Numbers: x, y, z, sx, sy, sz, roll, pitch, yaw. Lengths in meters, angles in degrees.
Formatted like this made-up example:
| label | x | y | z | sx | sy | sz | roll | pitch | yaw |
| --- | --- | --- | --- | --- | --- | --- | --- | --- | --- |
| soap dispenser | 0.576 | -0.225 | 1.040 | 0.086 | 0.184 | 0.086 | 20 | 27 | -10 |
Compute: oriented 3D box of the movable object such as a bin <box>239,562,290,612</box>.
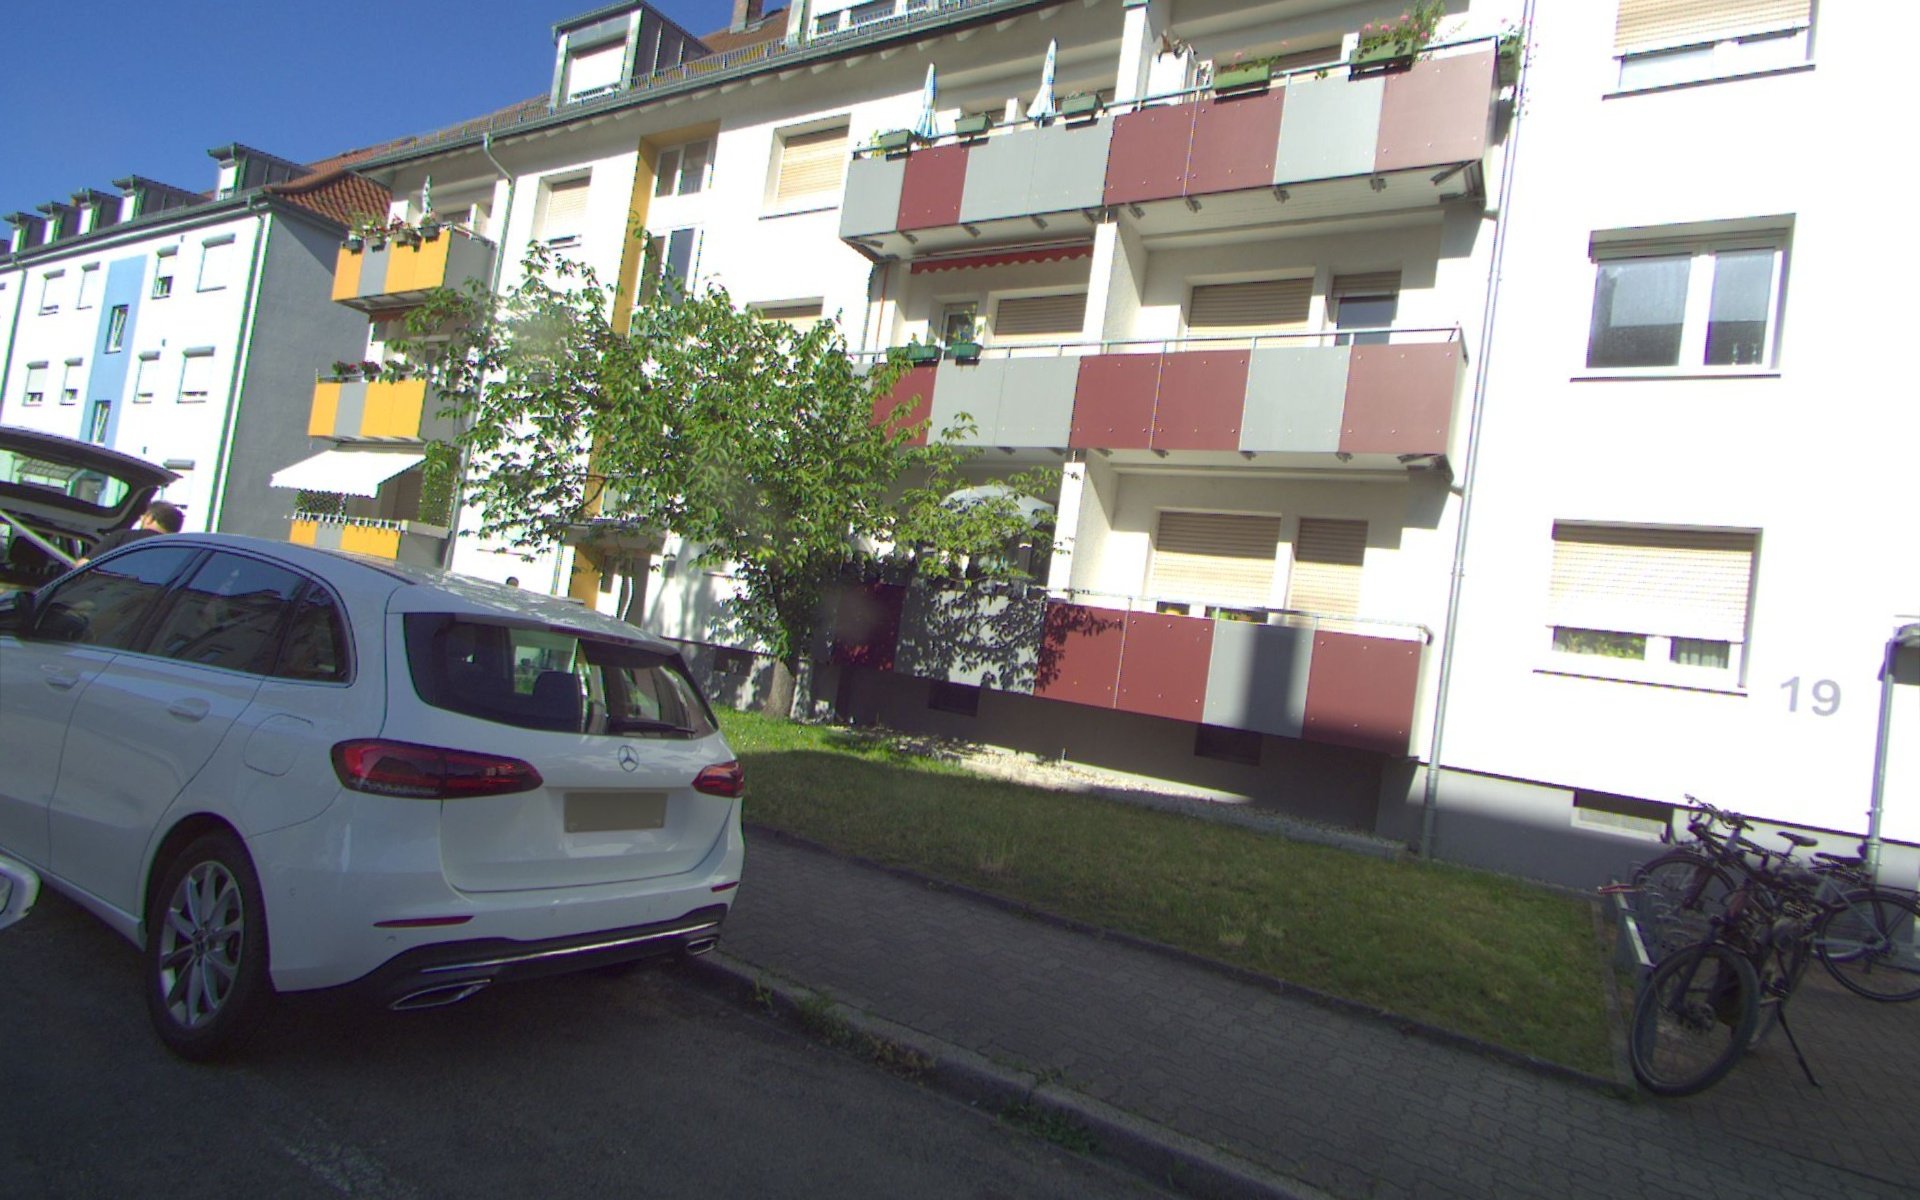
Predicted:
| label | x | y | z | sx | sy | sz | roll | pitch | yaw |
| --- | --- | --- | --- | --- | --- | --- | --- | --- | --- |
| movable object such as a bin | -16.267 | -0.303 | 23.530 | 0.745 | 1.046 | 0.644 | 4 | -3 | 32 |

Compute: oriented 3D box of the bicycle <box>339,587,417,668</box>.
| label | x | y | z | sx | sy | sz | roll | pitch | yaw |
| --- | --- | --- | --- | --- | --- | --- | --- | --- | --- |
| bicycle | -9.146 | 0.428 | 15.806 | 1.278 | 1.099 | 0.404 | 7 | -2 | 33 |

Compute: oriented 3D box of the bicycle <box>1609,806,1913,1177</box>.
| label | x | y | z | sx | sy | sz | roll | pitch | yaw |
| --- | --- | --- | --- | --- | --- | --- | --- | --- | --- |
| bicycle | 3.934 | 1.733 | 5.047 | 0.866 | 1.142 | 2.426 | 6 | -3 | 37 |

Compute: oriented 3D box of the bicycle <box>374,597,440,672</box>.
| label | x | y | z | sx | sy | sz | roll | pitch | yaw |
| --- | --- | --- | --- | --- | --- | --- | --- | --- | --- |
| bicycle | -8.409 | 0.529 | 15.308 | 0.235 | 1.059 | 0.741 | 7 | -2 | 34 |

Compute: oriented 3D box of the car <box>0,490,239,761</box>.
| label | x | y | z | sx | sy | sz | roll | pitch | yaw |
| --- | --- | --- | --- | --- | --- | --- | --- | --- | --- |
| car | -7.889 | -0.050 | 7.764 | 4.915 | 1.629 | 2.000 | 6 | -5 | 34 |

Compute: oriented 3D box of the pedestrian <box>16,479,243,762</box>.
| label | x | y | z | sx | sy | sz | roll | pitch | yaw |
| --- | --- | --- | --- | --- | --- | --- | --- | --- | --- |
| pedestrian | -5.427 | 0.151 | 6.598 | 0.594 | 1.706 | 0.821 | 7 | -1 | 31 |

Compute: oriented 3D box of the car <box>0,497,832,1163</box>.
| label | x | y | z | sx | sy | sz | roll | pitch | yaw |
| --- | --- | --- | --- | --- | --- | --- | --- | --- | --- |
| car | -2.945 | 0.533 | 4.363 | 4.405 | 1.520 | 1.778 | 7 | -4 | 30 |

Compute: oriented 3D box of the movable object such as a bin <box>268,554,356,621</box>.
| label | x | y | z | sx | sy | sz | roll | pitch | yaw |
| --- | --- | --- | --- | --- | --- | --- | --- | --- | --- |
| movable object such as a bin | -15.671 | -0.304 | 24.339 | 1.088 | 1.422 | 1.330 | 4 | -3 | 32 |

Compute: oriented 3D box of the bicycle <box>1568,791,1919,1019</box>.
| label | x | y | z | sx | sy | sz | roll | pitch | yaw |
| --- | --- | --- | --- | --- | --- | --- | --- | --- | --- |
| bicycle | 5.656 | 2.105 | 7.089 | 2.250 | 1.060 | 0.521 | 6 | -2 | 32 |

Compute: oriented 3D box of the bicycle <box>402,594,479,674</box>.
| label | x | y | z | sx | sy | sz | roll | pitch | yaw |
| --- | --- | --- | --- | --- | --- | --- | --- | --- | --- |
| bicycle | -8.503 | 0.549 | 16.460 | 1.252 | 1.145 | 0.404 | 7 | -3 | 33 |

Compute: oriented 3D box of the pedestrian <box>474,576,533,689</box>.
| label | x | y | z | sx | sy | sz | roll | pitch | yaw |
| --- | --- | --- | --- | --- | --- | --- | --- | --- | --- |
| pedestrian | -6.405 | 0.460 | 14.121 | 0.354 | 1.511 | 0.451 | 5 | -3 | 32 |

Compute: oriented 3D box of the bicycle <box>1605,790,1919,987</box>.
| label | x | y | z | sx | sy | sz | roll | pitch | yaw |
| --- | --- | --- | --- | --- | --- | --- | --- | --- | --- |
| bicycle | 6.439 | 2.261 | 8.144 | 1.942 | 1.049 | 0.521 | 6 | -2 | 32 |
